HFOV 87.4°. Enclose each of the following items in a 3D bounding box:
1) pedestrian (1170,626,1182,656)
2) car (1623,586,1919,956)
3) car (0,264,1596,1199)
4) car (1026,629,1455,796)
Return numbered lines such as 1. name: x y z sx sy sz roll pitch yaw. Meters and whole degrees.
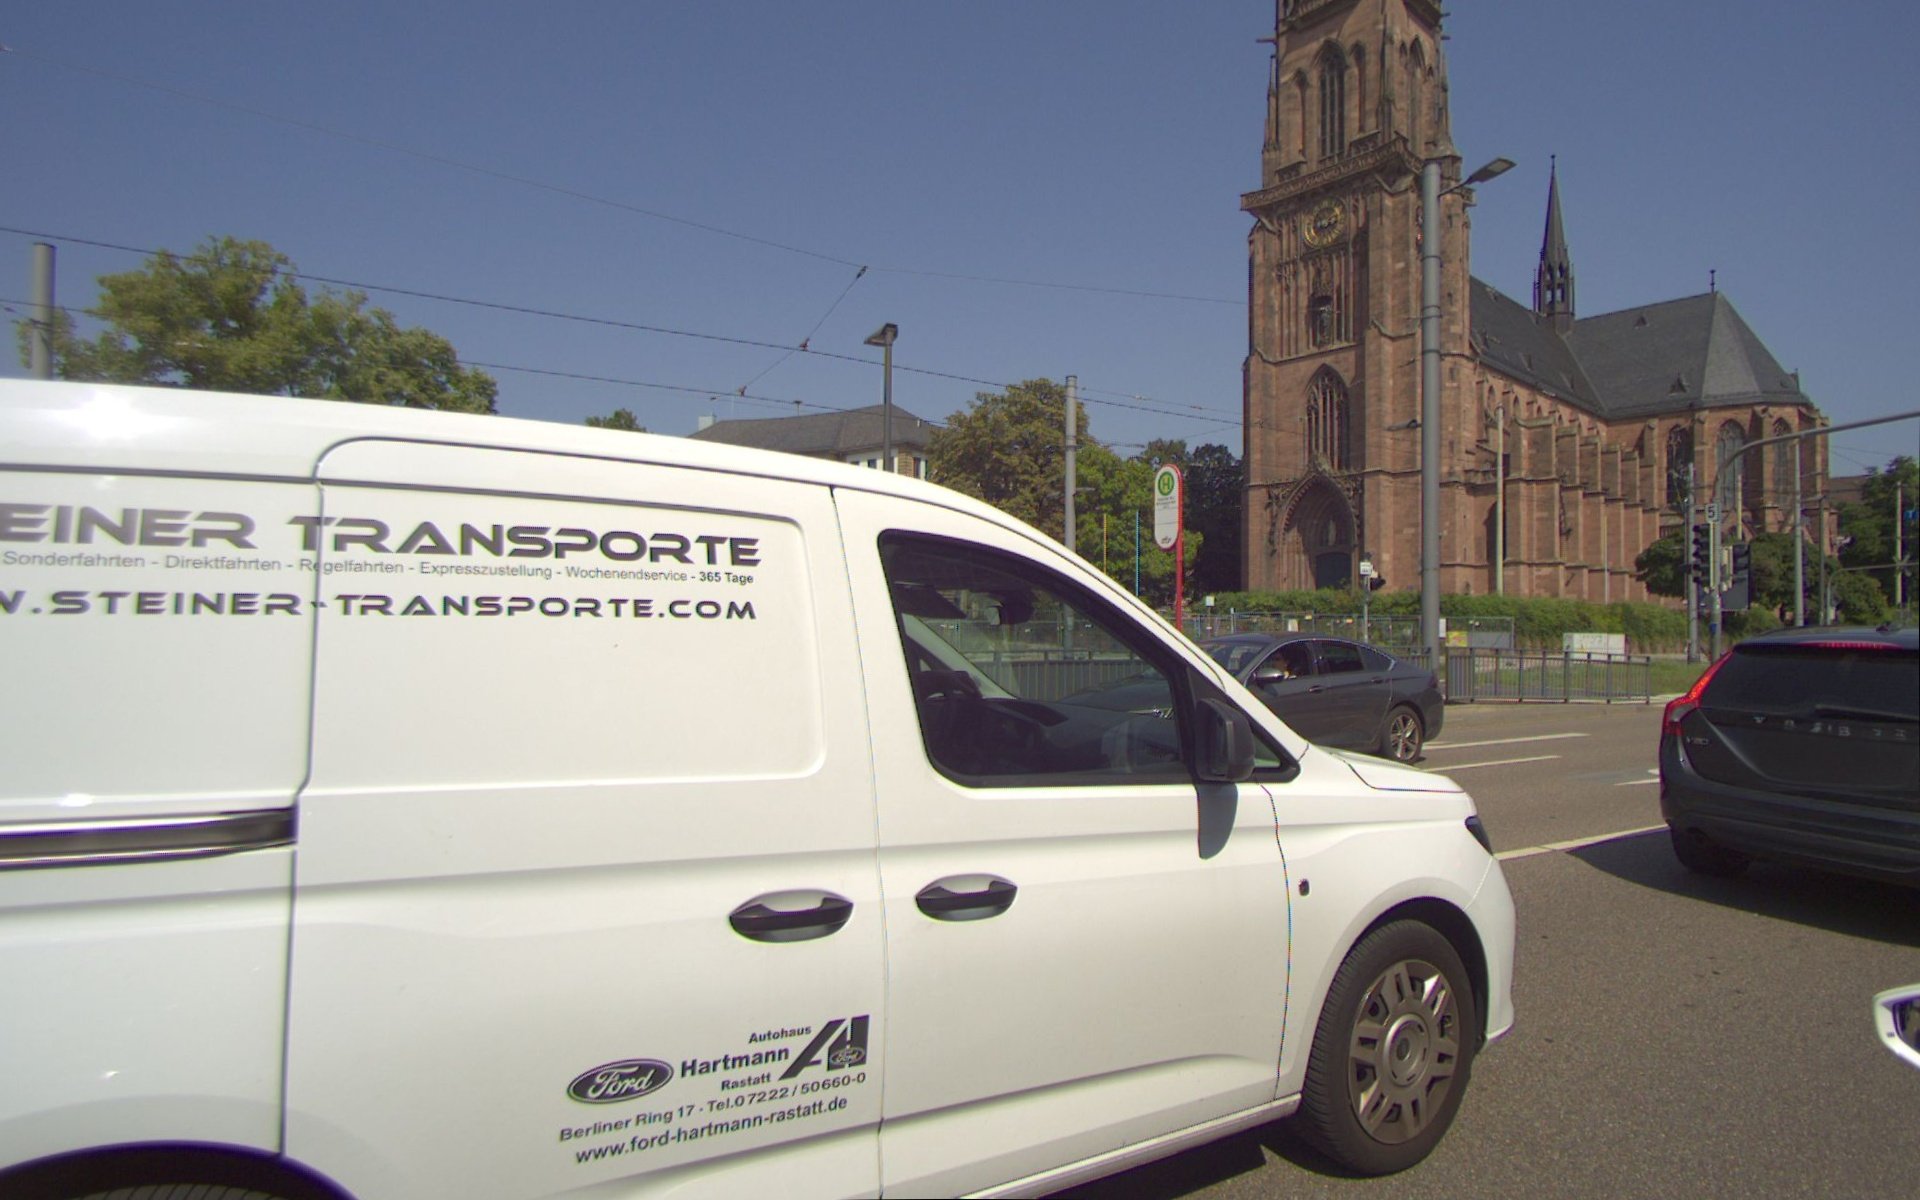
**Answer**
1. pedestrian: 11.345 2.145 52.741 0.533 1.551 0.436 0 -1 5
2. car: 5.911 0.791 5.830 4.257 1.636 1.739 1 0 -30
3. car: -0.332 0.547 2.712 4.189 1.844 1.739 1 -1 -30
4. car: 3.063 1.053 10.690 4.519 1.454 1.738 1 -3 -30
